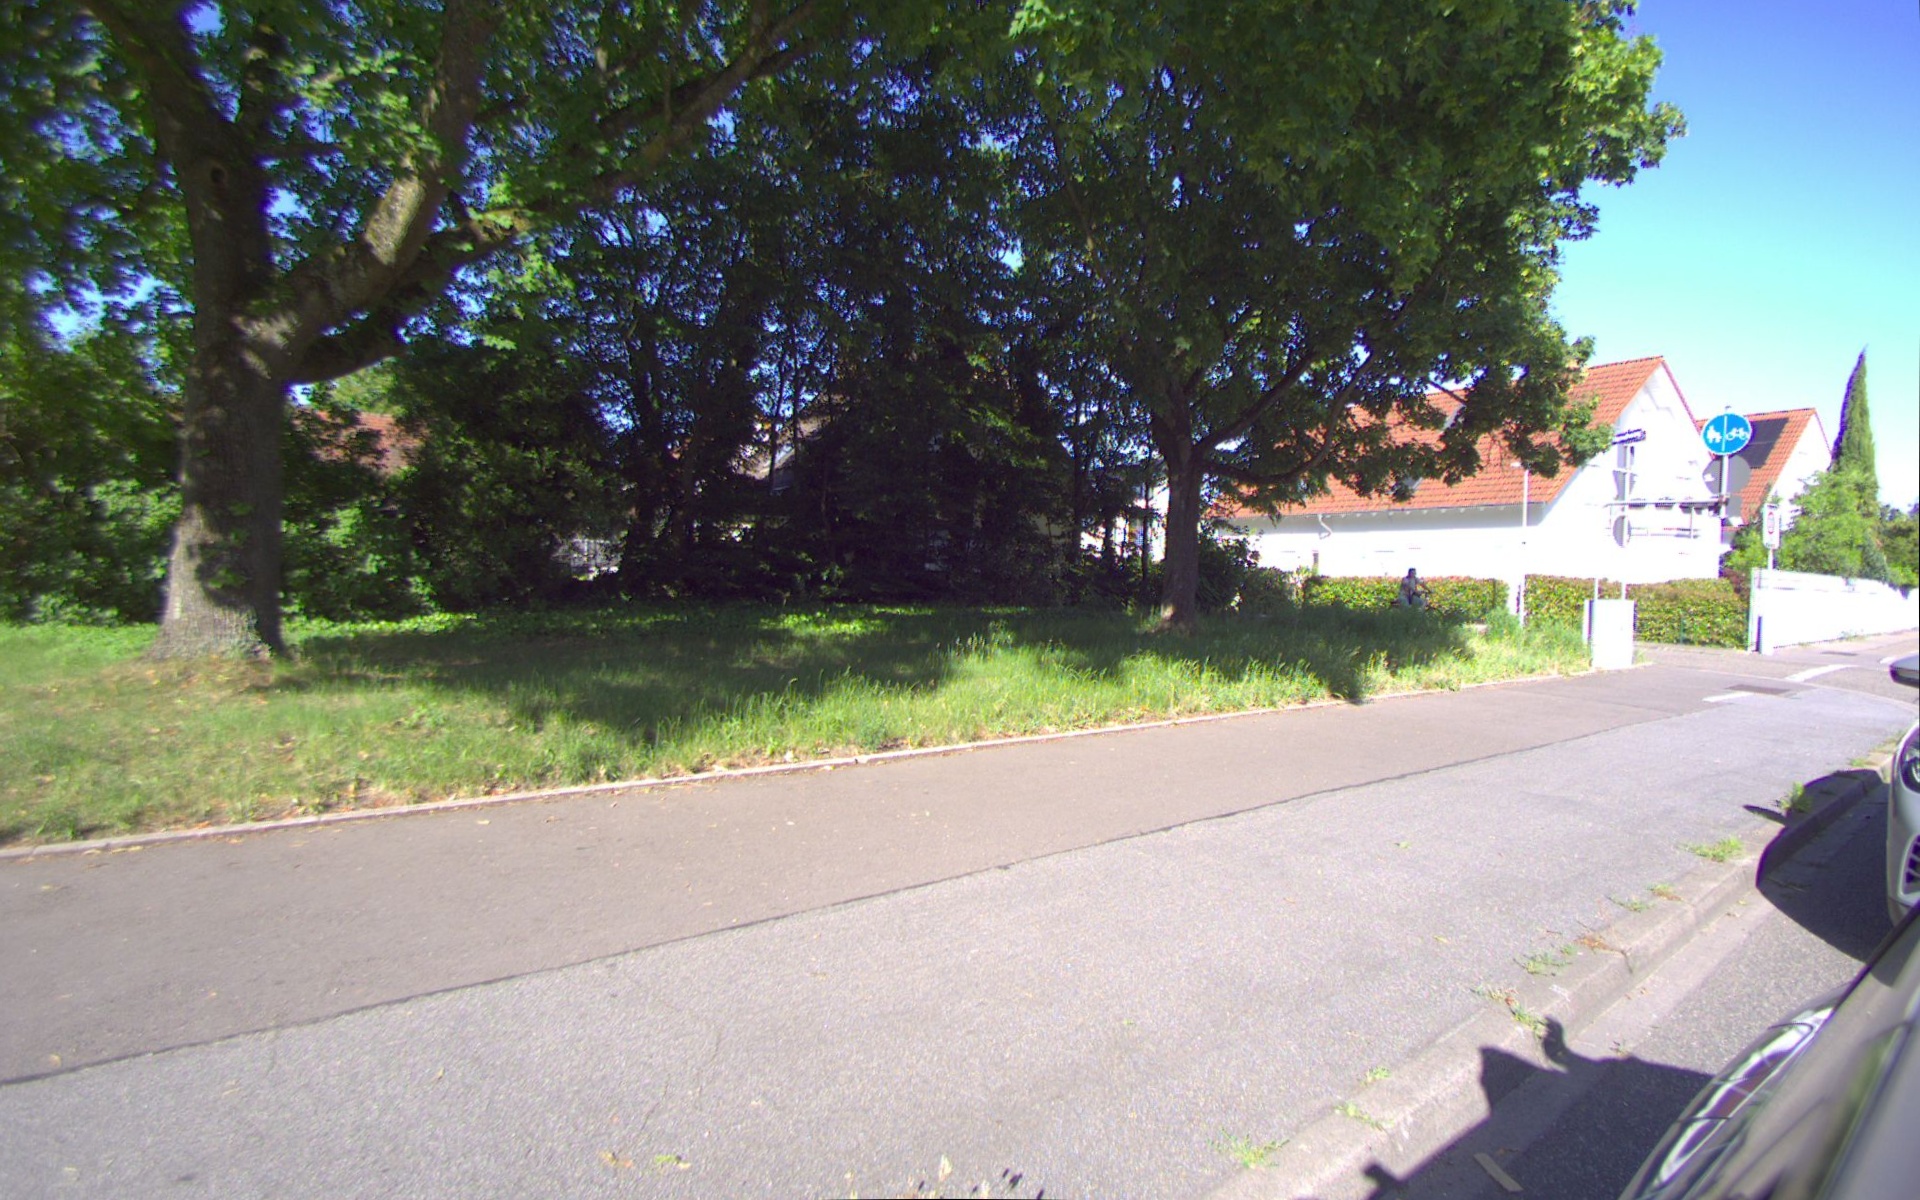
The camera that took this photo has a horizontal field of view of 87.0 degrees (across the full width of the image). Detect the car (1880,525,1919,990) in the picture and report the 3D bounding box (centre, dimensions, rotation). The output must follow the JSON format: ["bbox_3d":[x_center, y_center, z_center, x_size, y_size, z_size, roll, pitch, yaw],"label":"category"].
[{"bbox_3d":[5.639,0.602,4.432,4.133,1.710,1.857,0,3,-41],"label":"car"}]

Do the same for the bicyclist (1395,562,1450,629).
[{"bbox_3d":[11.660,-0.113,25.534,0.569,1.600,0.998,2,3,-35],"label":"bicyclist"}]

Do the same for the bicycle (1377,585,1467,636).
[{"bbox_3d":[11.631,0.248,25.546,0.569,1.110,1.989,2,4,-35],"label":"bicycle"}]
